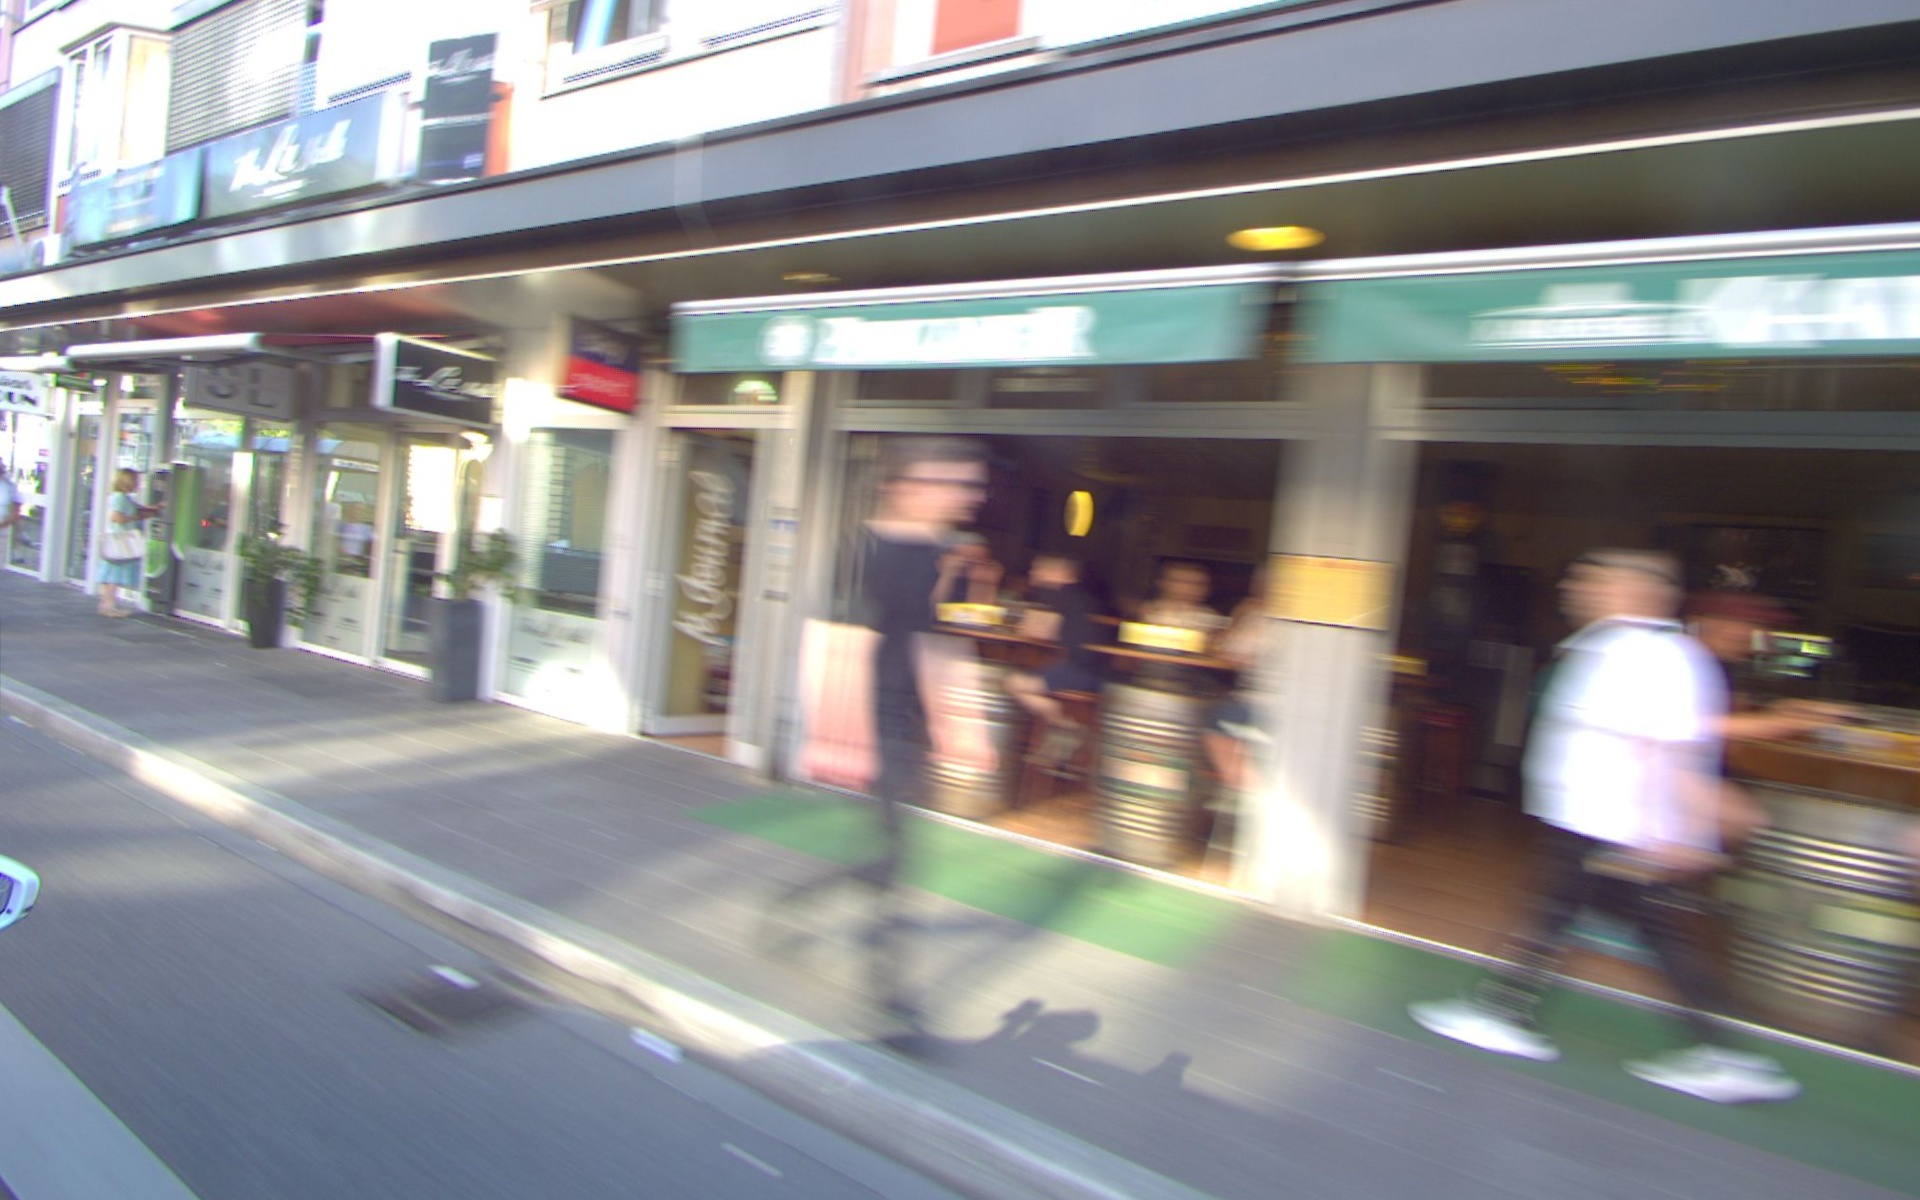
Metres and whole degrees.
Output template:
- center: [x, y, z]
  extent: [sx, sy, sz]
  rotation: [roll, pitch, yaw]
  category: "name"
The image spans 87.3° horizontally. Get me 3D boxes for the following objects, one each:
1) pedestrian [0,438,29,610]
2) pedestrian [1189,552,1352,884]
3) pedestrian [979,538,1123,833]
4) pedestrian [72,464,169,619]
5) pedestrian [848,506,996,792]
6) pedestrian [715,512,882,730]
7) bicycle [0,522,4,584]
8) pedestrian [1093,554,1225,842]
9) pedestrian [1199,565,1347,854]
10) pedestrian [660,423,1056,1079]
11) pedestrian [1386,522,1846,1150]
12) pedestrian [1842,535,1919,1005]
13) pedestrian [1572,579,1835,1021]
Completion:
- center: [-9.619, -0.765, 9.768]
  extent: [0.693, 1.653, 0.662]
  rotation: [7, 4, 31]
  category: "pedestrian"
- center: [1.679, 0.609, 5.428]
  extent: [0.513, 1.654, 0.516]
  rotation: [8, 2, 37]
  category: "pedestrian"
- center: [0.540, 0.483, 5.947]
  extent: [0.521, 1.624, 0.456]
  rotation: [8, 2, 32]
  category: "pedestrian"
- center: [-9.197, -0.626, 11.019]
  extent: [0.544, 1.611, 0.600]
  rotation: [7, 3, 32]
  category: "pedestrian"
- center: [-0.236, 0.302, 6.465]
  extent: [0.544, 1.705, 0.579]
  rotation: [8, 2, 30]
  category: "pedestrian"
- center: [-1.249, 0.153, 7.817]
  extent: [0.886, 1.538, 0.710]
  rotation: [8, 2, 31]
  category: "pedestrian"
- center: [-9.668, -0.316, 9.605]
  extent: [1.731, 1.003, 0.302]
  rotation: [7, 3, 31]
  category: "bicycle"
- center: [1.198, 0.571, 6.052]
  extent: [0.457, 1.624, 0.456]
  rotation: [8, 2, 34]
  category: "pedestrian"
- center: [1.906, 0.640, 6.121]
  extent: [0.533, 1.627, 0.519]
  rotation: [8, 2, 37]
  category: "pedestrian"
- center: [-0.353, 0.408, 3.408]
  extent: [0.976, 1.886, 0.674]
  rotation: [7, 4, 33]
  category: "pedestrian"
- center: [2.249, 0.694, 3.591]
  extent: [1.032, 1.800, 0.906]
  rotation: [7, 4, 32]
  category: "pedestrian"
- center: [3.774, 0.608, 3.616]
  extent: [0.628, 1.659, 0.726]
  rotation: [8, 4, 33]
  category: "pedestrian"
- center: [3.234, 0.803, 4.457]
  extent: [0.685, 1.697, 0.772]
  rotation: [8, 3, 33]
  category: "pedestrian"
